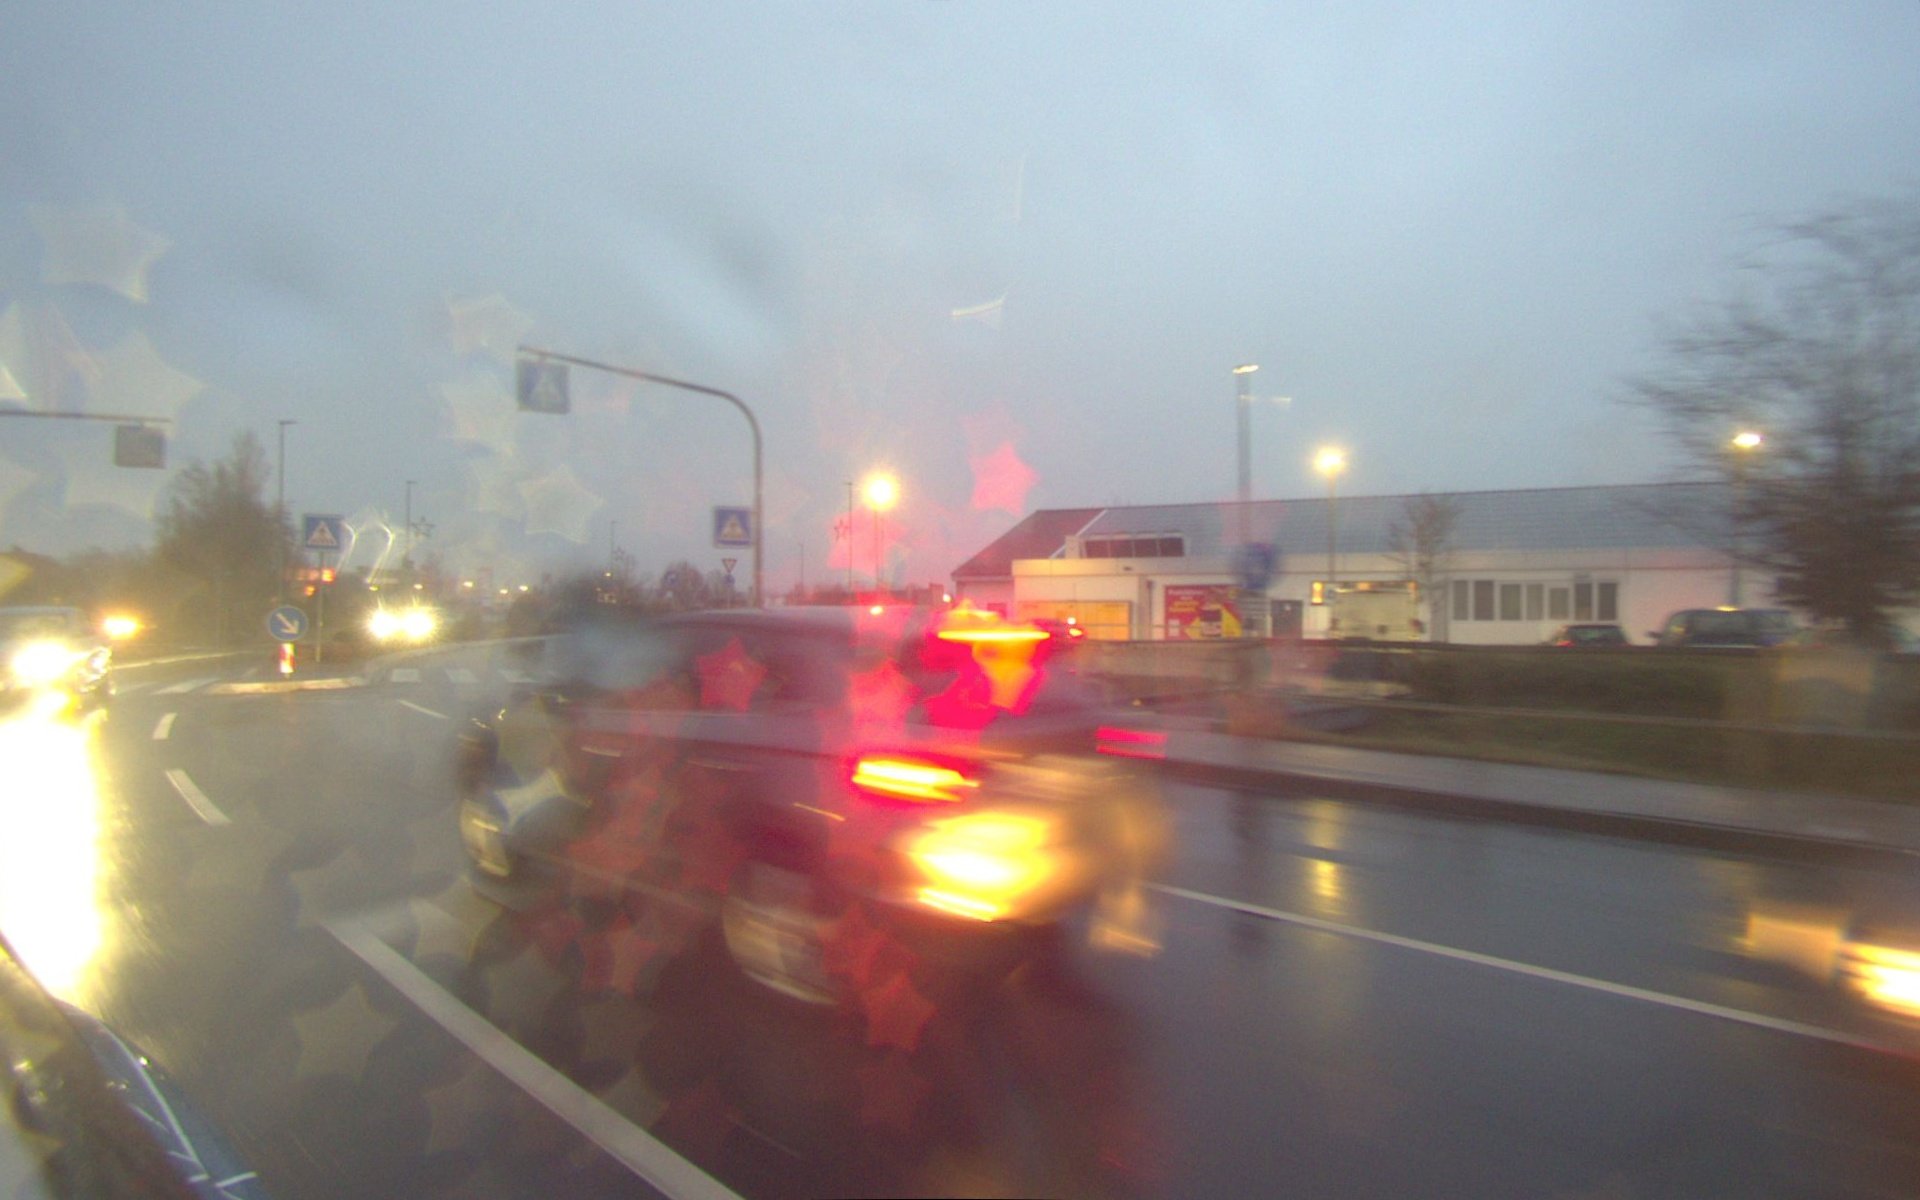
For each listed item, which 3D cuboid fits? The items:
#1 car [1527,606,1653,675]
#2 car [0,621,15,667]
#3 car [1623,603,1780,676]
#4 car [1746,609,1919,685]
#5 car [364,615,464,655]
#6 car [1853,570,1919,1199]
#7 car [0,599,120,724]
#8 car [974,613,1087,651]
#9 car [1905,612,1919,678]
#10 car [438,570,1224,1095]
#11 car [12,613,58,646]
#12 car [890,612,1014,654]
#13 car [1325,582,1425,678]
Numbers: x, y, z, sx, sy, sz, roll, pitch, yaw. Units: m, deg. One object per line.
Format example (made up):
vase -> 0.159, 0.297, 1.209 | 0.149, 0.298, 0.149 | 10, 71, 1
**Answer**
car -> 15.728, 1.042, 25.513 | 2.043, 1.575, 4.408 | -1, -3, 24
car -> -32.098, 1.432, 32.975 | 1.749, 1.441, 3.802 | -1, -1, -41
car -> 17.456, 0.959, 24.092 | 2.043, 1.575, 4.408 | -1, -3, 24
car -> 20.150, 1.086, 23.397 | 2.043, 1.575, 4.408 | -1, -3, 24
car -> -21.742, 1.366, 40.477 | 1.971, 1.484, 4.002 | 0, -1, -2
car -> 3.746, 0.687, 1.139 | 4.039, 1.506, 1.753 | -1, -1, 41
car -> -14.077, 0.842, 15.096 | 1.747, 1.654, 4.434 | 1, -1, -32
car -> 3.076, 1.368, 44.338 | 4.632, 1.548, 1.872 | 0, -1, 28
car -> 23.032, 0.980, 22.123 | 2.043, 1.575, 4.408 | -1, -3, 24
car -> -0.930, 0.679, 4.886 | 4.001, 1.497, 1.644 | 0, -1, 44
car -> -53.488, 1.671, 58.580 | 1.919, 1.819, 4.178 | 0, -1, -42
car -> -0.341, 1.276, 40.270 | 4.763, 1.548, 1.672 | 0, -1, 28
car -> 11.196, 0.851, 27.199 | 2.205, 2.300, 5.160 | -1, -3, 24
